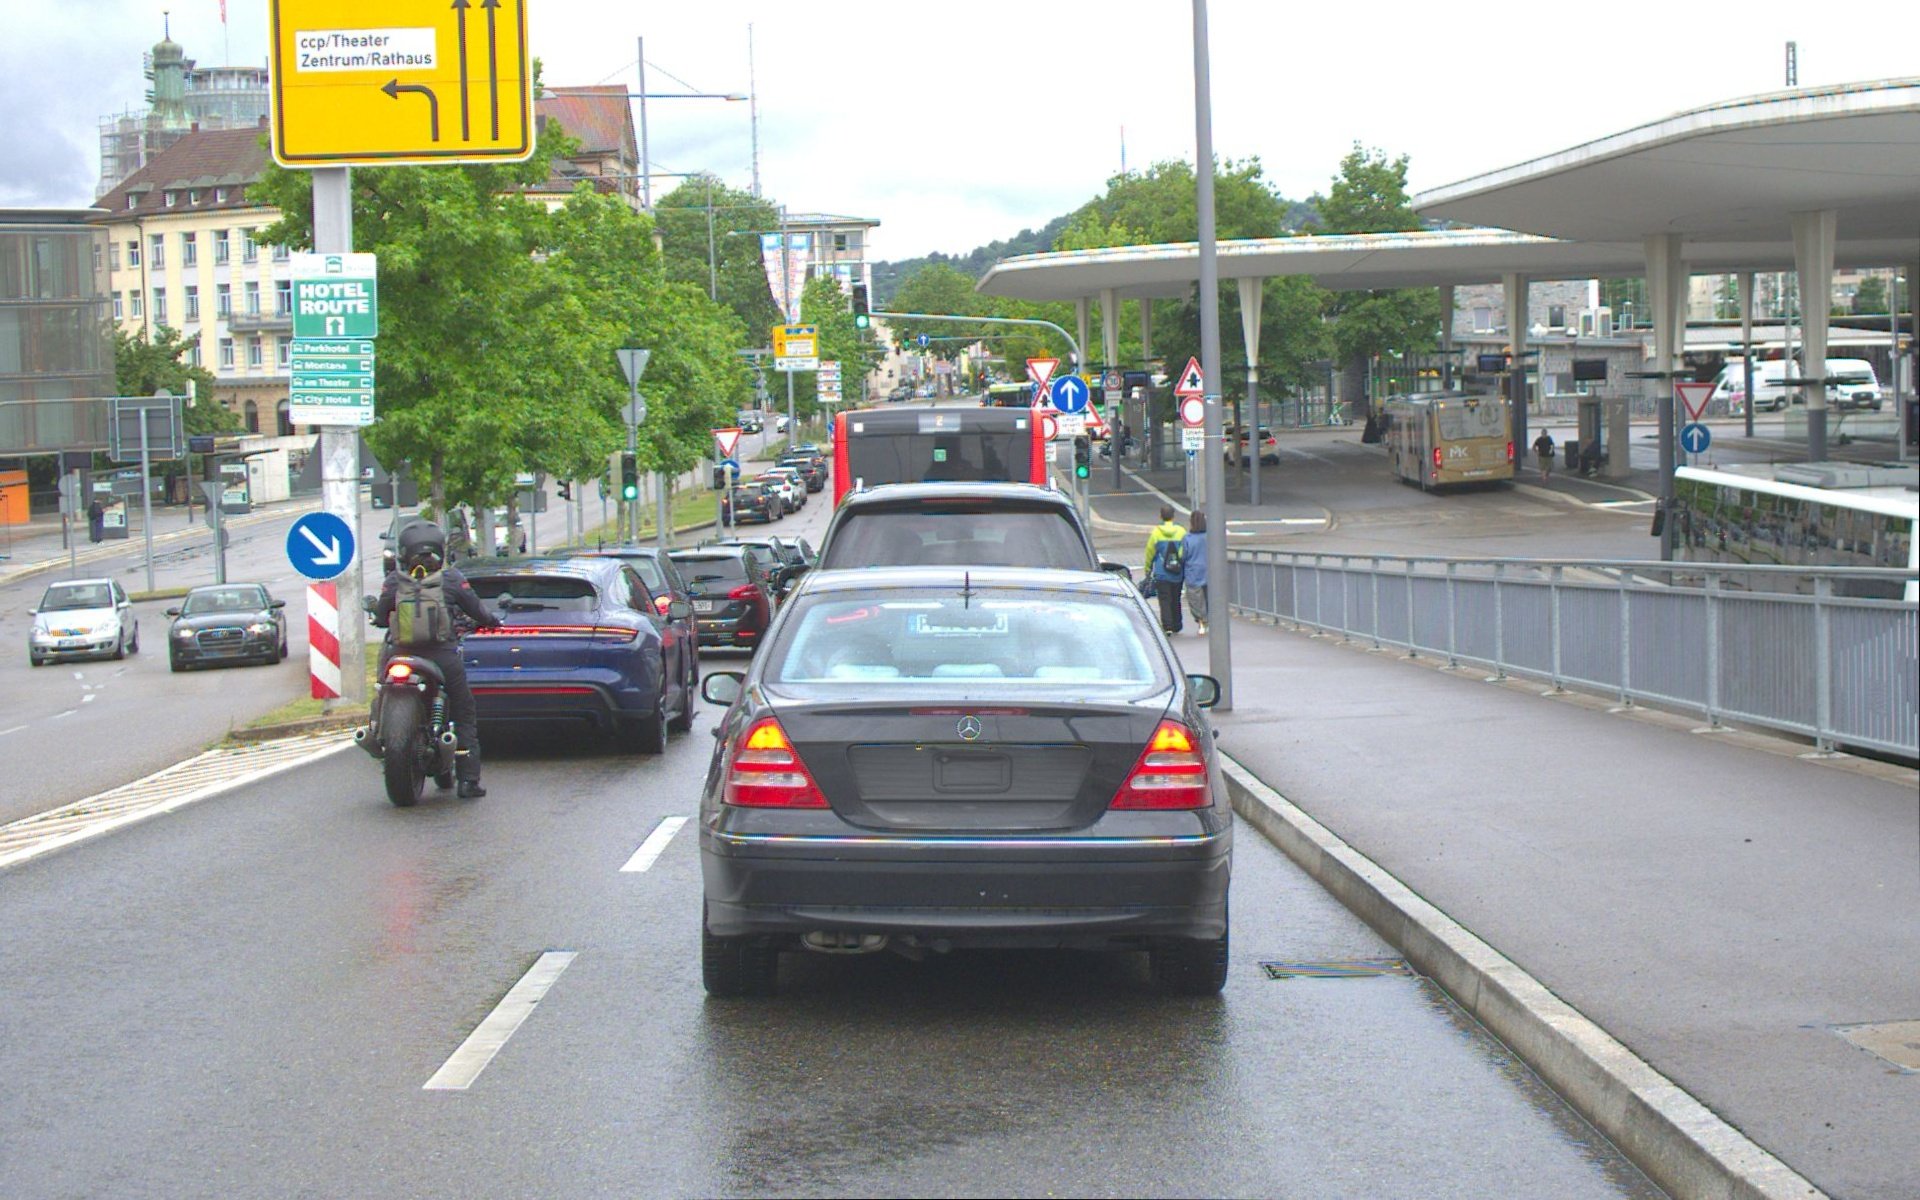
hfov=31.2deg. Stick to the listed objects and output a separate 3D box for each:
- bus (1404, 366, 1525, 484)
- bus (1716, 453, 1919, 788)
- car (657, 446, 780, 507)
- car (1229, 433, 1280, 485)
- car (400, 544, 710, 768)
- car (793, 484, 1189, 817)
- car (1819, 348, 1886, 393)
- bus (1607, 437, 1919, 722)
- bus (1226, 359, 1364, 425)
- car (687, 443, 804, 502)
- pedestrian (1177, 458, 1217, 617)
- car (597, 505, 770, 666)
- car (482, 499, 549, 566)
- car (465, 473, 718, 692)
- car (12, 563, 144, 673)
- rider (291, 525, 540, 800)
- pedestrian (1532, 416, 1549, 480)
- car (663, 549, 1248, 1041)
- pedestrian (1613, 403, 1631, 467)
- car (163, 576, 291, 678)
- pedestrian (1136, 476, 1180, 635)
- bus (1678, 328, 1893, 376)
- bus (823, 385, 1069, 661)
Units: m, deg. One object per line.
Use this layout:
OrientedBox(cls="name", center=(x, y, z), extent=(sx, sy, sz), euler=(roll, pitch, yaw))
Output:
OrientedBox(cls="bus", center=(16.574, -5.696, 113.602), extent=(3.179, 3.588, 10.509), euler=(-1, 2, 5))
OrientedBox(cls="bus", center=(11.150, 0.094, 39.932), extent=(2.645, 3.225, 7.074), euler=(1, 5, -4))
OrientedBox(cls="car", center=(-8.416, -4.322, 120.176), extent=(3.987, 2.006, 2.000), euler=(-2, 2, 4))
OrientedBox(cls="car", center=(11.929, -5.710, 139.018), extent=(1.994, 2.006, 4.000), euler=(-2, 2, 5))
OrientedBox(cls="car", center=(-2.841, 0.342, 24.886), extent=(1.760, 1.431, 4.000), euler=(0, 2, 0))
OrientedBox(cls="car", center=(0.284, 0.194, 19.434), extent=(1.827, 1.681, 3.999), euler=(0, 2, 7))
OrientedBox(cls="car", center=(41.287, -10.611, 159.128), extent=(1.993, 2.006, 4.001), euler=(-2, 3, -1))
OrientedBox(cls="bus", center=(11.073, -0.425, 47.069), extent=(2.646, 3.224, 7.074), euler=(-2, 5, -3))
OrientedBox(cls="bus", center=(18.694, -11.633, 192.206), extent=(7.197, 3.384, 3.083), euler=(-2, 3, -3))
OrientedBox(cls="car", center=(-7.869, -4.683, 126.328), extent=(3.987, 2.006, 2.000), euler=(-2, 2, 4))
OrientedBox(cls="pedestrian", center=(3.016, -0.788, 43.720), extent=(0.424, 2.007, 0.483), euler=(-2, -1, 2))
OrientedBox(cls="car", center=(-3.566, -0.236, 44.935), extent=(1.993, 1.999, 4.001), euler=(0, 2, -1))
OrientedBox(cls="car", center=(-14.161, -2.142, 109.640), extent=(1.993, 2.007, 4.203), euler=(-2, 1, -7))
OrientedBox(cls="car", center=(-3.518, -0.221, 33.526), extent=(1.993, 1.999, 4.000), euler=(0, 2, 1))
OrientedBox(cls="car", center=(-17.481, 0.327, 68.279), extent=(1.993, 2.007, 4.001), euler=(-2, 1, -8))
OrientedBox(cls="rider", center=(-3.089, 0.313, 19.746), extent=(0.881, 1.467, 2.196), euler=(1, 2, 6))
OrientedBox(cls="pedestrian", center=(18.437, -4.831, 109.180), extent=(0.424, 2.006, 0.483), euler=(-2, 2, 2))
OrientedBox(cls="car", center=(0.008, 0.544, 11.911), extent=(1.706, 1.414, 3.726), euler=(0, 1, 1))
OrientedBox(cls="pedestrian", center=(21.244, -5.284, 110.369), extent=(0.424, 2.007, 0.483), euler=(-2, -1, 2))
OrientedBox(cls="car", center=(-12.991, 0.443, 61.124), extent=(1.832, 1.521, 4.596), euler=(-2, 3, -8))
OrientedBox(cls="pedestrian", center=(2.527, -0.561, 43.855), extent=(0.489, 2.007, 0.469), euler=(-2, -1, 2))
OrientedBox(cls="bus", center=(41.074, -12.347, 171.144), extent=(10.167, 2.006, 2.170), euler=(-2, 2, -3))
OrientedBox(cls="bus", center=(-0.207, -1.028, 44.921), extent=(2.827, 3.178, 10.310), euler=(0, 1, -1))
